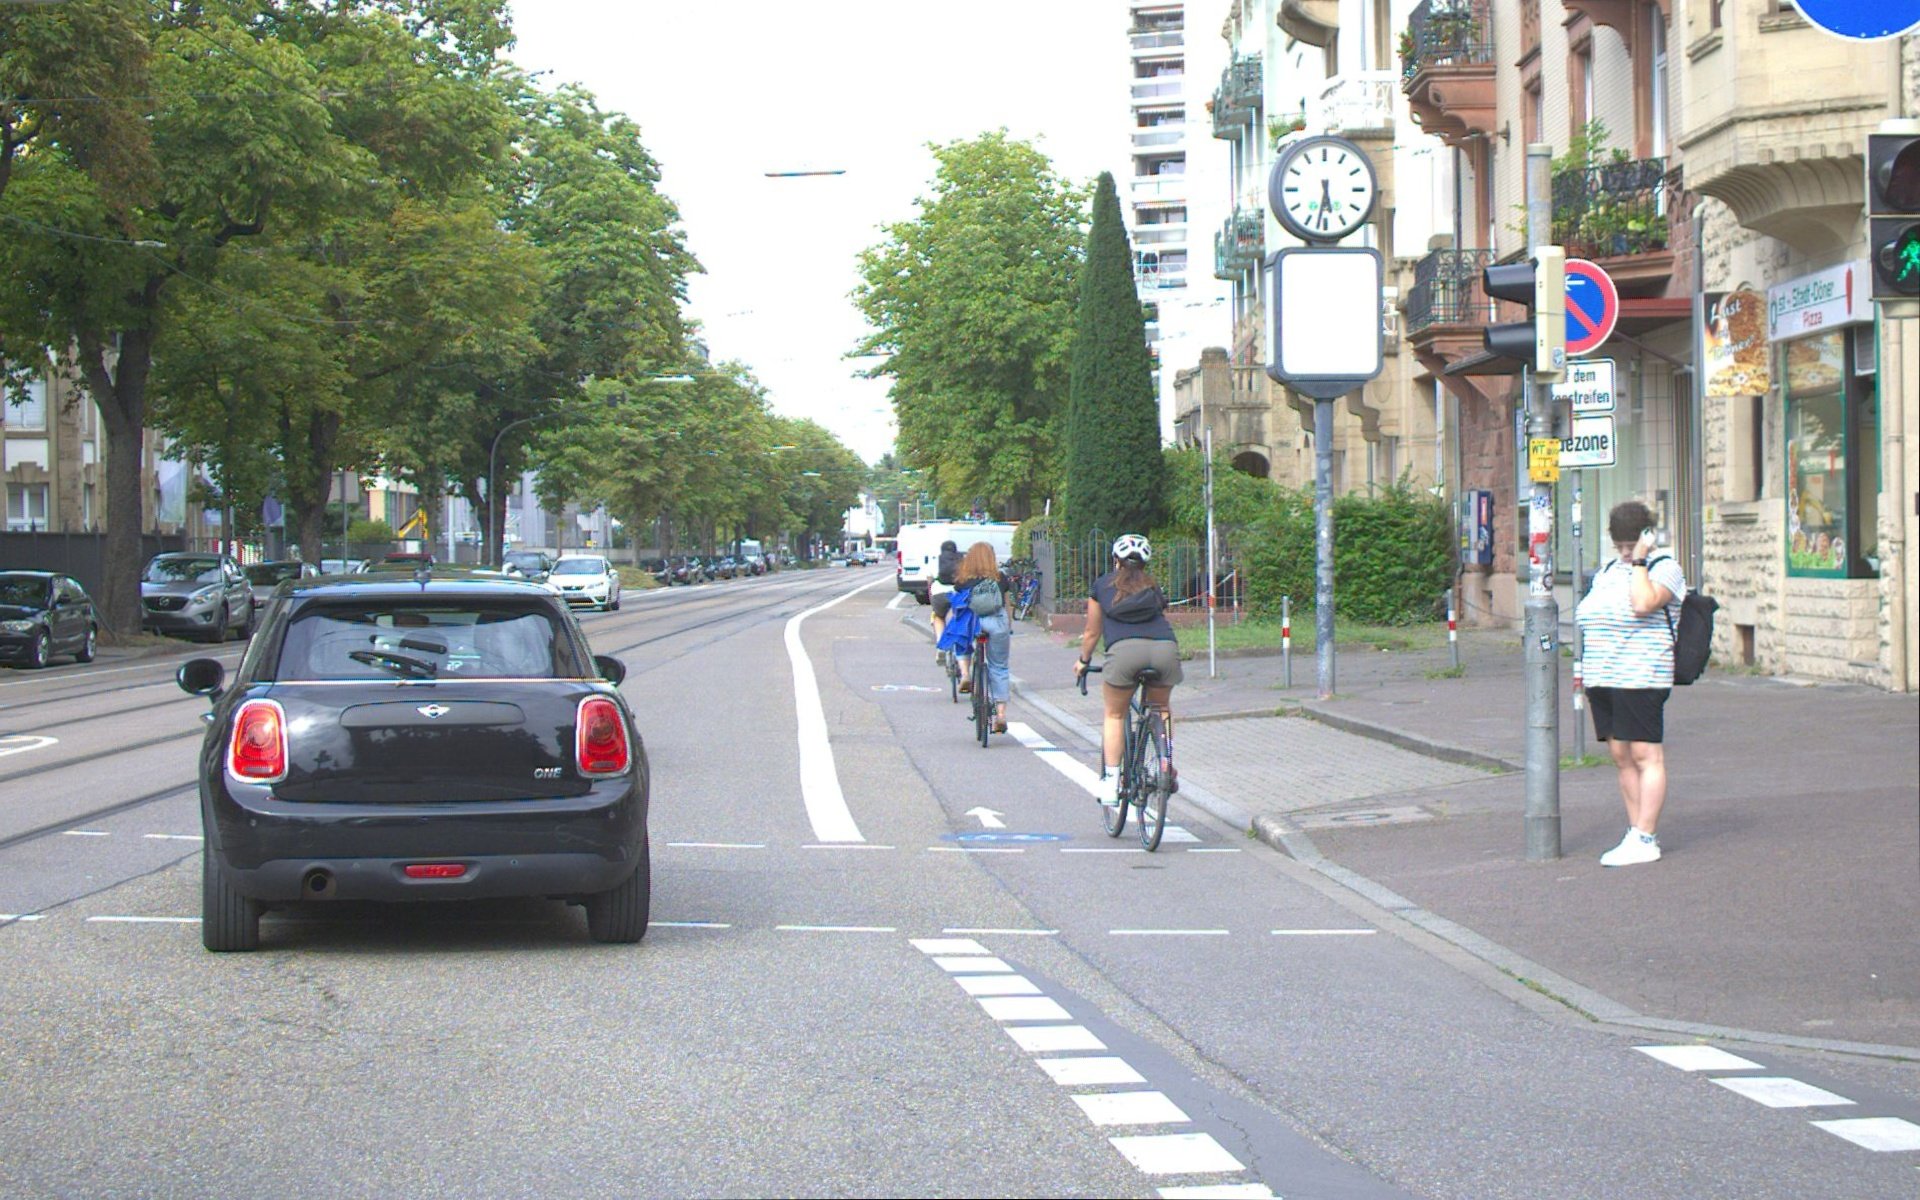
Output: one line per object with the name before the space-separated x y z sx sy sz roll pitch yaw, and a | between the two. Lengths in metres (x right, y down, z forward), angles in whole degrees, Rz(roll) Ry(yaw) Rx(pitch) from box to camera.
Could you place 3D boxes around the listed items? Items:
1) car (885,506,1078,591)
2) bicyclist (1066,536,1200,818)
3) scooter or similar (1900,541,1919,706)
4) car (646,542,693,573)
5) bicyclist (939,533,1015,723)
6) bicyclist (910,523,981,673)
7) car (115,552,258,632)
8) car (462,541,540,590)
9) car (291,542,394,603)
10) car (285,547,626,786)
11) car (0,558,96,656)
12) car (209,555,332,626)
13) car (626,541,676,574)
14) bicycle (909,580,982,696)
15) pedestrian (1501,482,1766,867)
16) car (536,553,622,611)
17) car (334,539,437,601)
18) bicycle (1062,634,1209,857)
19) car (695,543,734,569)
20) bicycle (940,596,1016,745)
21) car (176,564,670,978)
car | 0.626 -1.454 96.211 5.025 2.265 2.396 -2 1 -40
bicyclist | 0.925 0.396 18.546 0.614 1.467 0.915 -1 1 -2
scooter or similar | 7.175 0.172 24.659 0.508 1.184 1.262 -1 1 0
car | -14.917 -2.204 176.614 1.993 1.546 4.000 -1 1 0
bicyclist | 0.140 0.221 28.816 0.594 1.545 1.014 -1 1 0
bicyclist | -0.153 -0.027 36.558 0.684 1.558 0.998 -1 1 2
car | -14.355 -0.176 63.995 1.767 1.390 4.000 -1 1 -1
car | -15.163 -1.146 113.690 1.993 1.546 4.000 -1 1 0
car | -14.759 -0.683 82.316 1.767 1.390 4.000 -1 1 -1
car | -3.466 0.398 24.300 1.926 1.504 4.000 -1 1 -2
car | -14.443 0.090 51.972 1.767 1.390 4.000 -1 1 -1
car | -14.336 -0.220 71.670 1.767 1.390 4.000 -1 1 -1
car | -14.921 -2.053 166.146 1.993 1.546 4.000 -1 1 0
bicycle | -0.145 0.387 36.570 0.684 1.166 1.696 -1 1 2
pedestrian | 3.093 0.334 15.784 0.833 1.668 0.732 -5 2 -43
car | -9.638 -0.471 87.239 1.767 1.390 4.000 -1 1 -1
car | -15.119 -0.806 90.720 1.993 1.546 4.000 -1 1 0
bicycle | 0.928 0.754 18.551 0.614 1.073 1.821 -1 1 -2
car | -14.759 -2.651 206.535 1.993 1.546 4.000 -1 1 0
bicycle | 0.148 0.575 28.924 0.598 1.166 1.697 -1 1 0
car | -2.328 0.591 14.488 1.751 1.436 4.001 -1 1 -11
